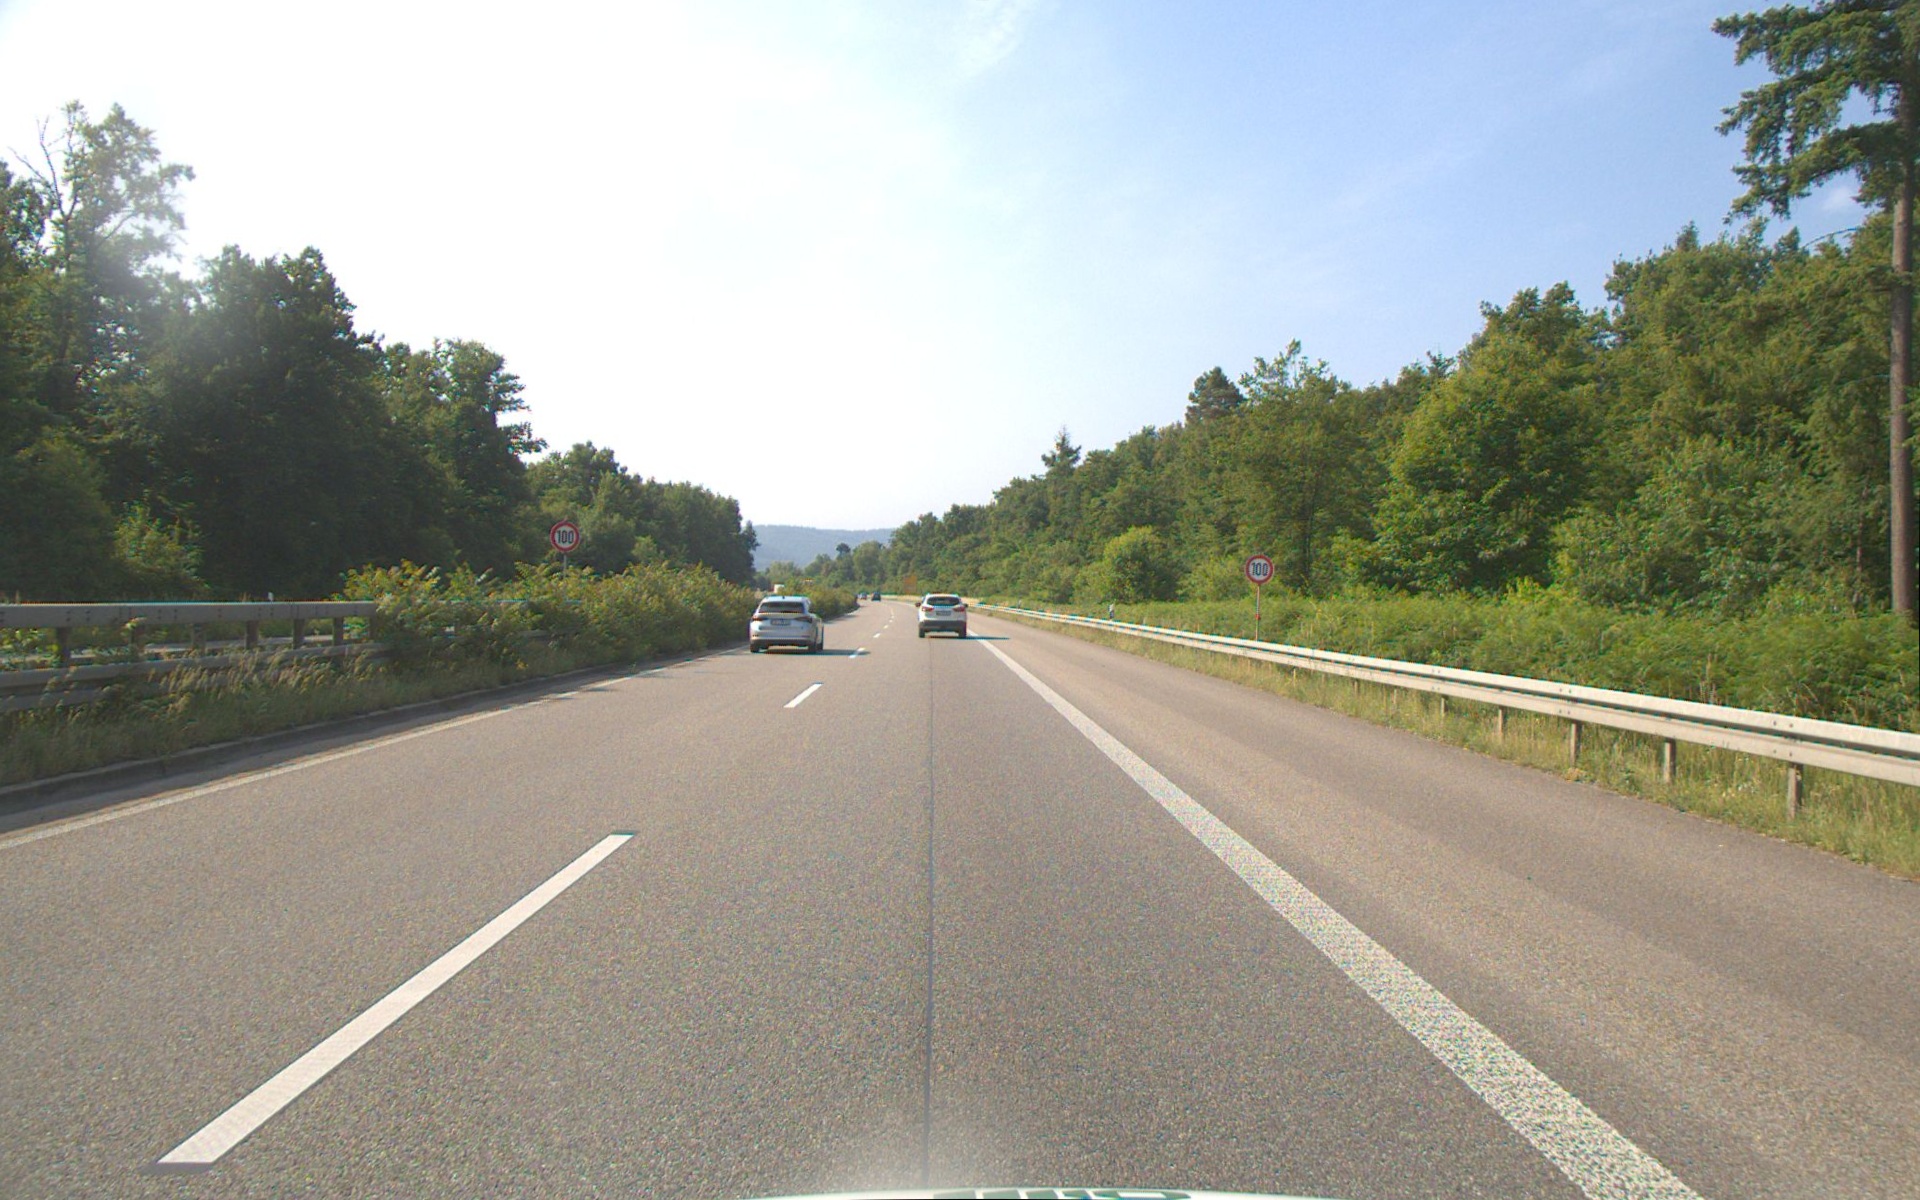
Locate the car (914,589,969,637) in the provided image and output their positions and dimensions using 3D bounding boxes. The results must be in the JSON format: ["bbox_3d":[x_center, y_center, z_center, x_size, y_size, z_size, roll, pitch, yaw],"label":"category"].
[{"bbox_3d":[-0.734,0.461,61.717,1.836,1.614,3.998,2,0,-3],"label":"car"}]

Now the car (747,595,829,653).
[{"bbox_3d":[-4.573,0.600,44.689,1.756,1.463,5.277,0,0,-1],"label":"car"}]
